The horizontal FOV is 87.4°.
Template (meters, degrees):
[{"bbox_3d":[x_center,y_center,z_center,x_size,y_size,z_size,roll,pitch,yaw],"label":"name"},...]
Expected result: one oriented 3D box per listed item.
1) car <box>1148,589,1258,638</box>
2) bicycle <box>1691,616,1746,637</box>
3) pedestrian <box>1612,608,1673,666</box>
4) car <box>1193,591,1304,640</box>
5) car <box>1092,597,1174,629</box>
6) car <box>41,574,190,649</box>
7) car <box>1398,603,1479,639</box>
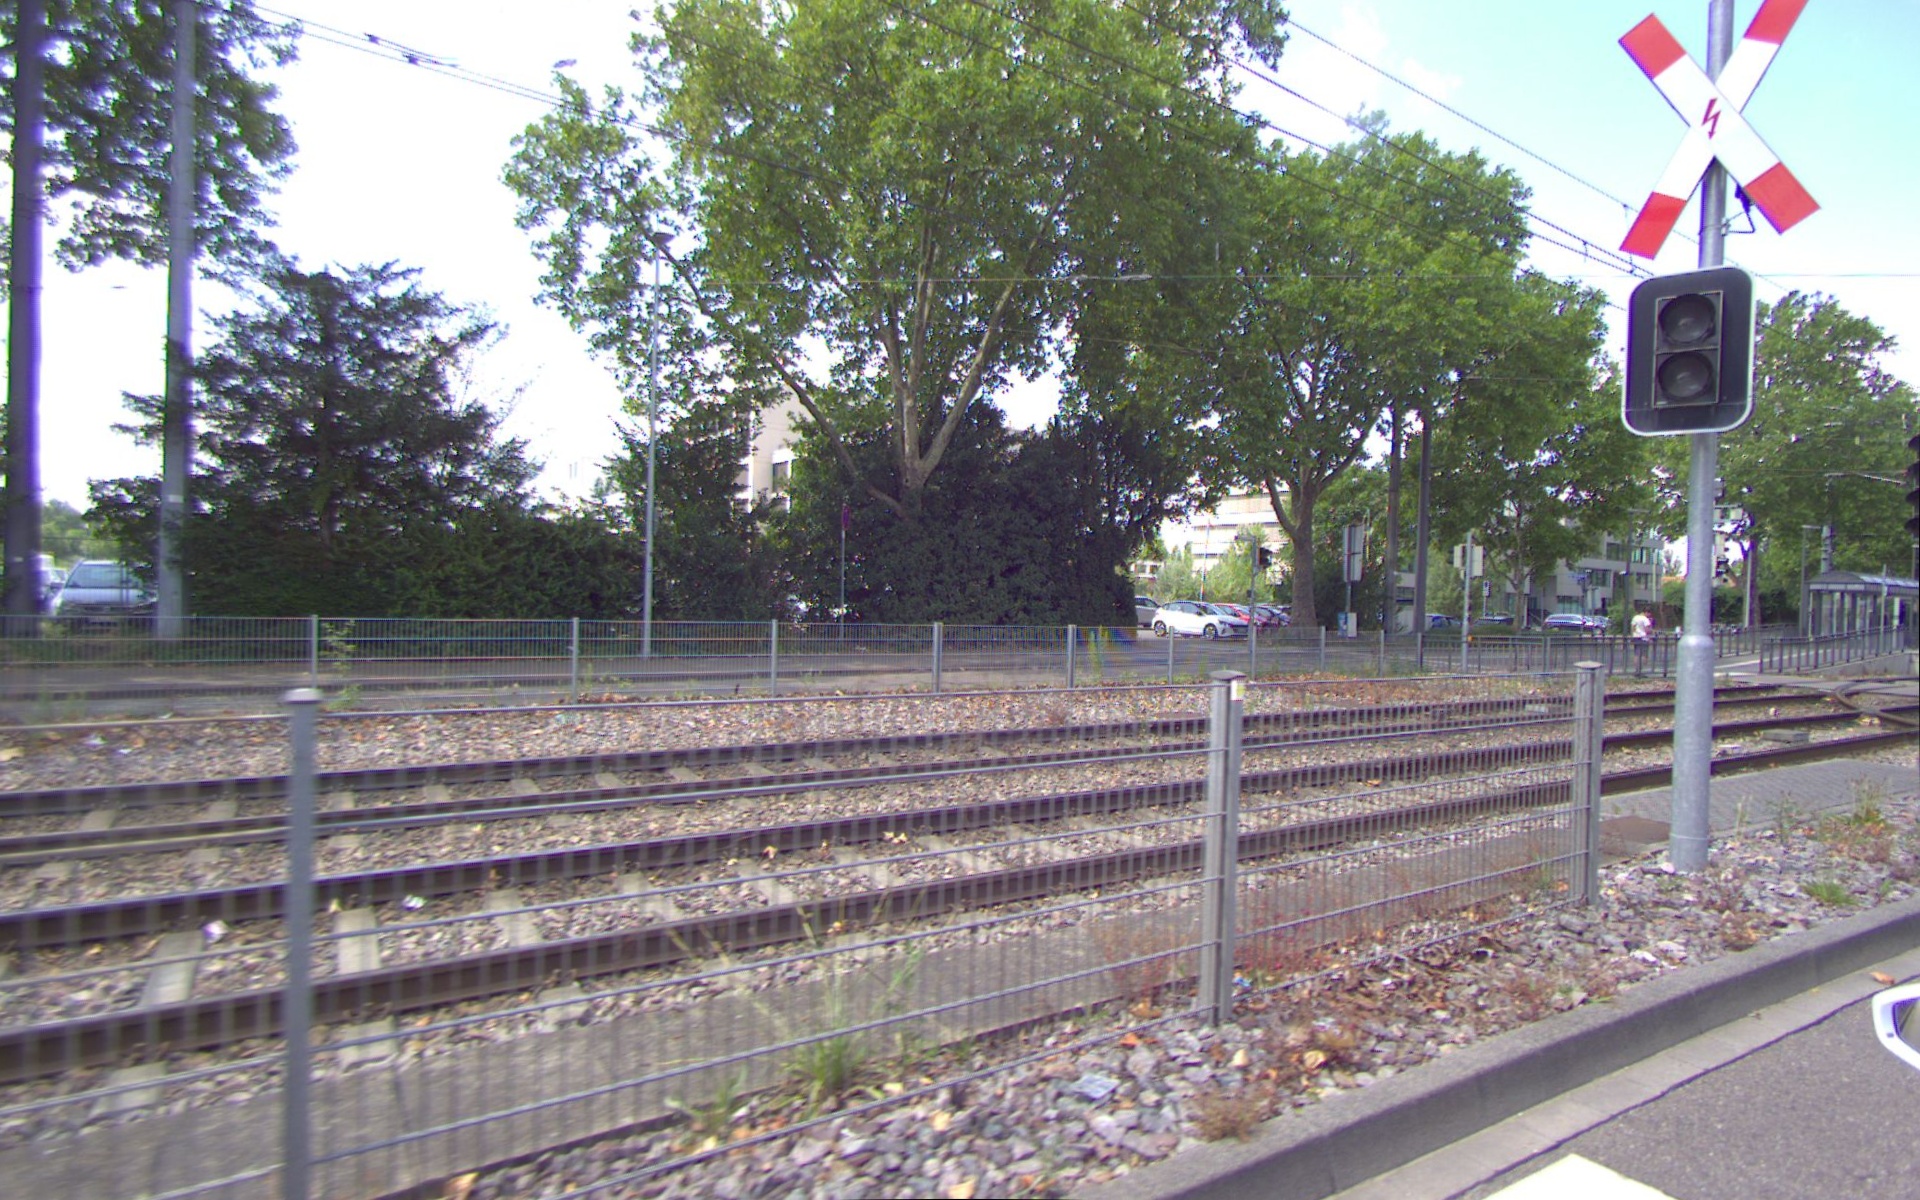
[{"bbox_3d":[9.450,0.486,39.274,1.787,1.773,3.958,1,0,-36],"label":"car"},{"bbox_3d":[54.247,1.864,71.880,0.626,1.183,3.024,2,4,-29],"label":"bicycle"},{"bbox_3d":[16.450,0.884,24.216,0.854,1.361,0.915,2,-1,-30],"label":"pedestrian"},{"bbox_3d":[11.451,0.587,40.064,1.787,1.773,3.958,1,0,-36],"label":"car"},{"bbox_3d":[8.708,0.676,50.481,3.960,1.495,1.786,1,0,-35],"label":"car"},{"bbox_3d":[-18.308,0.211,21.977,1.979,1.461,3.963,2,1,-33],"label":"car"},{"bbox_3d":[22.142,0.958,46.449,3.611,1.555,1.682,1,1,-31],"label":"car"}]
